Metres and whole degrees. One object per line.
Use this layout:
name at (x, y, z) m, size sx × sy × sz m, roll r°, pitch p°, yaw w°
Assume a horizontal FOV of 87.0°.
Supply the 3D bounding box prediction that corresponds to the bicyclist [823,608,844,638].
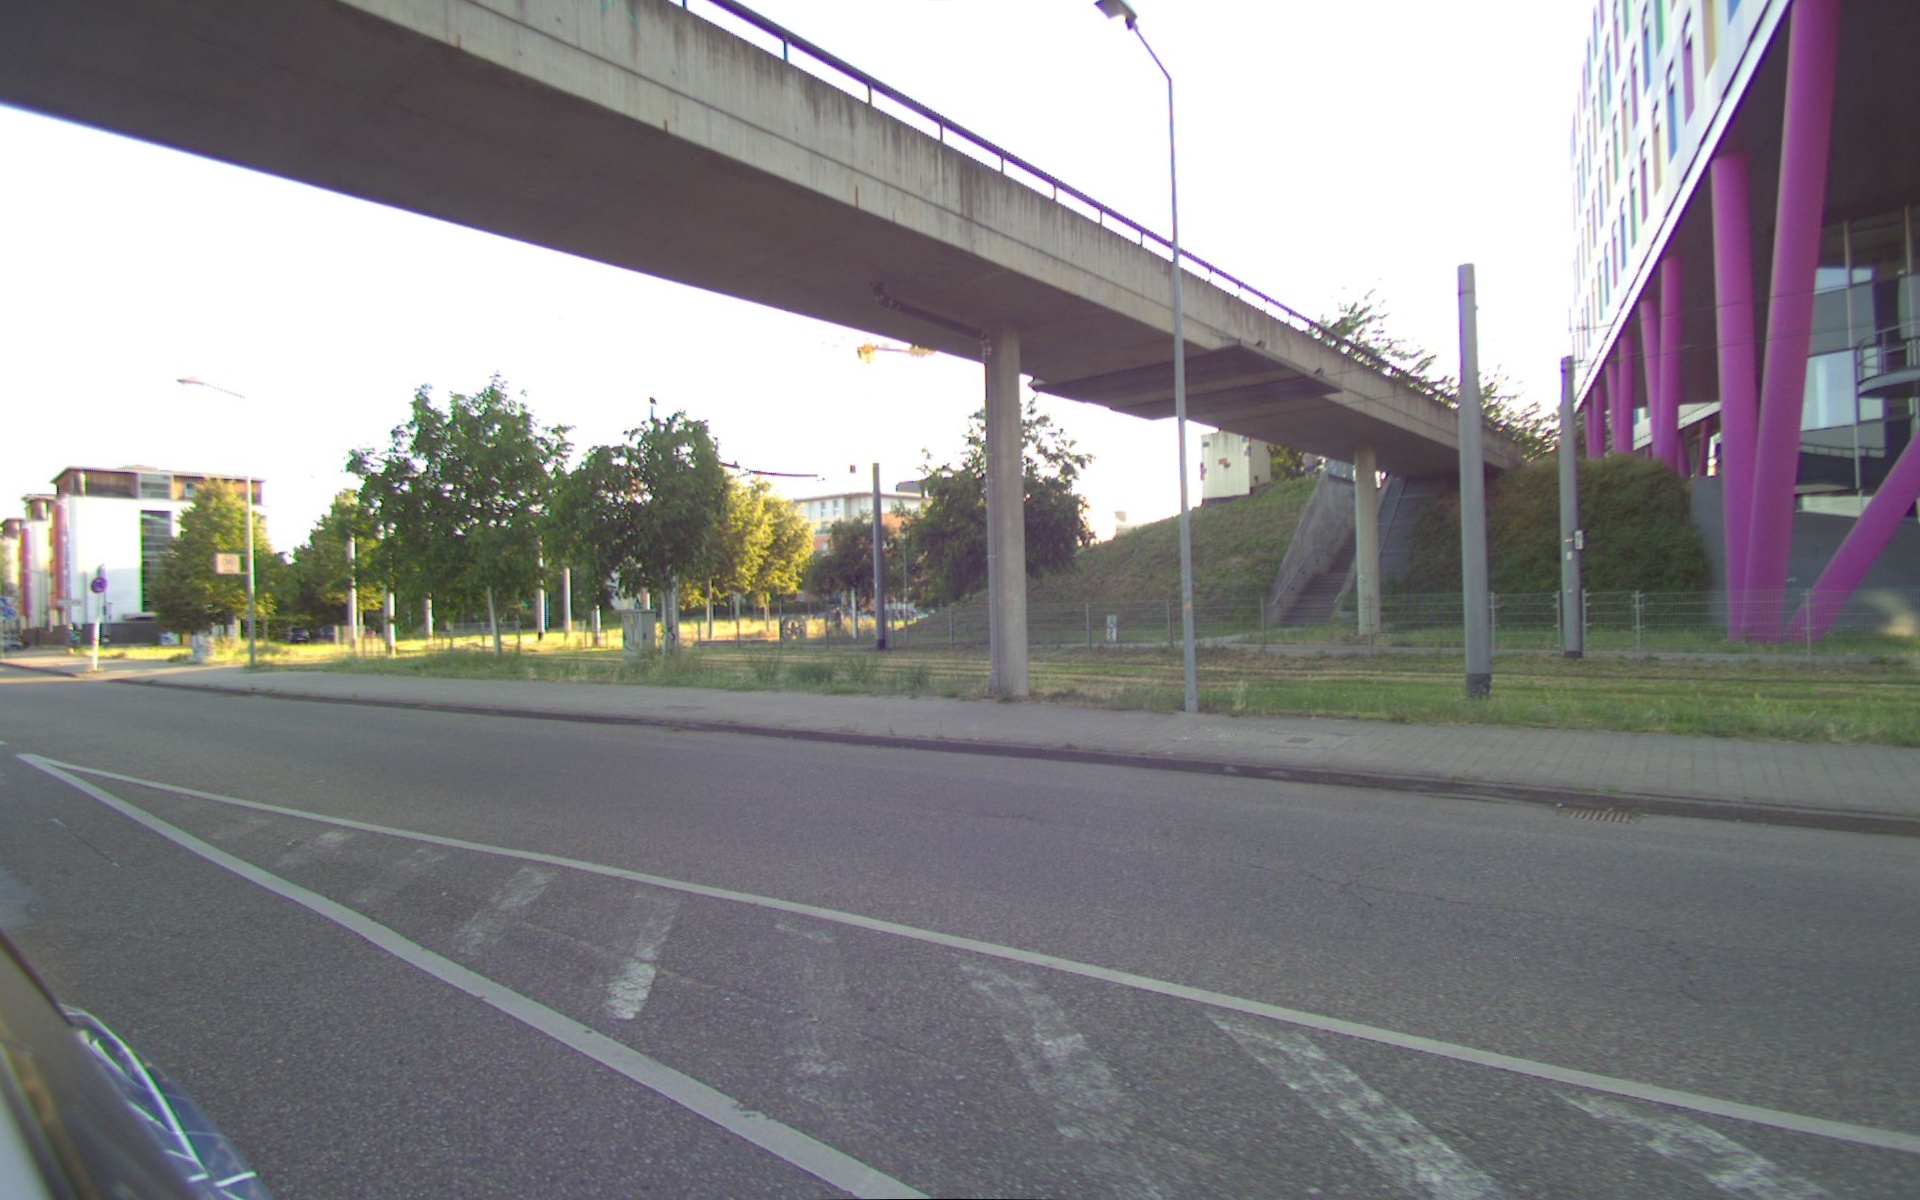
bicyclist at (-7.030, 1.296, 56.371) m, size 0.717 × 1.644 × 0.898 m, roll -2°, pitch -1°, yaw 39°

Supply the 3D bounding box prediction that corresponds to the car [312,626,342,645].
car at (-53.772, 3.012, 85.940) m, size 1.913 × 1.541 × 4.009 m, roll -1°, pitch -1°, yaw -36°

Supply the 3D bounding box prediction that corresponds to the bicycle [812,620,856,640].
bicycle at (-6.977, 1.651, 56.347) m, size 0.654 × 1.016 × 2.808 m, roll -2°, pitch -1°, yaw 36°

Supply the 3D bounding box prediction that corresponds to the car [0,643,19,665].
car at (-79.180, 4.412, 82.185) m, size 2.000 × 1.741 × 3.944 m, roll -2°, pitch -1°, yaw 42°

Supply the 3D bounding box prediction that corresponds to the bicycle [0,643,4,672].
bicycle at (-53.841, 3.174, 54.961) m, size 3.507 × 1.581 × 1.014 m, roll -2°, pitch -1°, yaw 13°

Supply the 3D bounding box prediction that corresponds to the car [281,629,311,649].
car at (-55.526, 3.261, 84.623) m, size 1.913 × 1.541 × 4.009 m, roll -1°, pitch -1°, yaw -36°
